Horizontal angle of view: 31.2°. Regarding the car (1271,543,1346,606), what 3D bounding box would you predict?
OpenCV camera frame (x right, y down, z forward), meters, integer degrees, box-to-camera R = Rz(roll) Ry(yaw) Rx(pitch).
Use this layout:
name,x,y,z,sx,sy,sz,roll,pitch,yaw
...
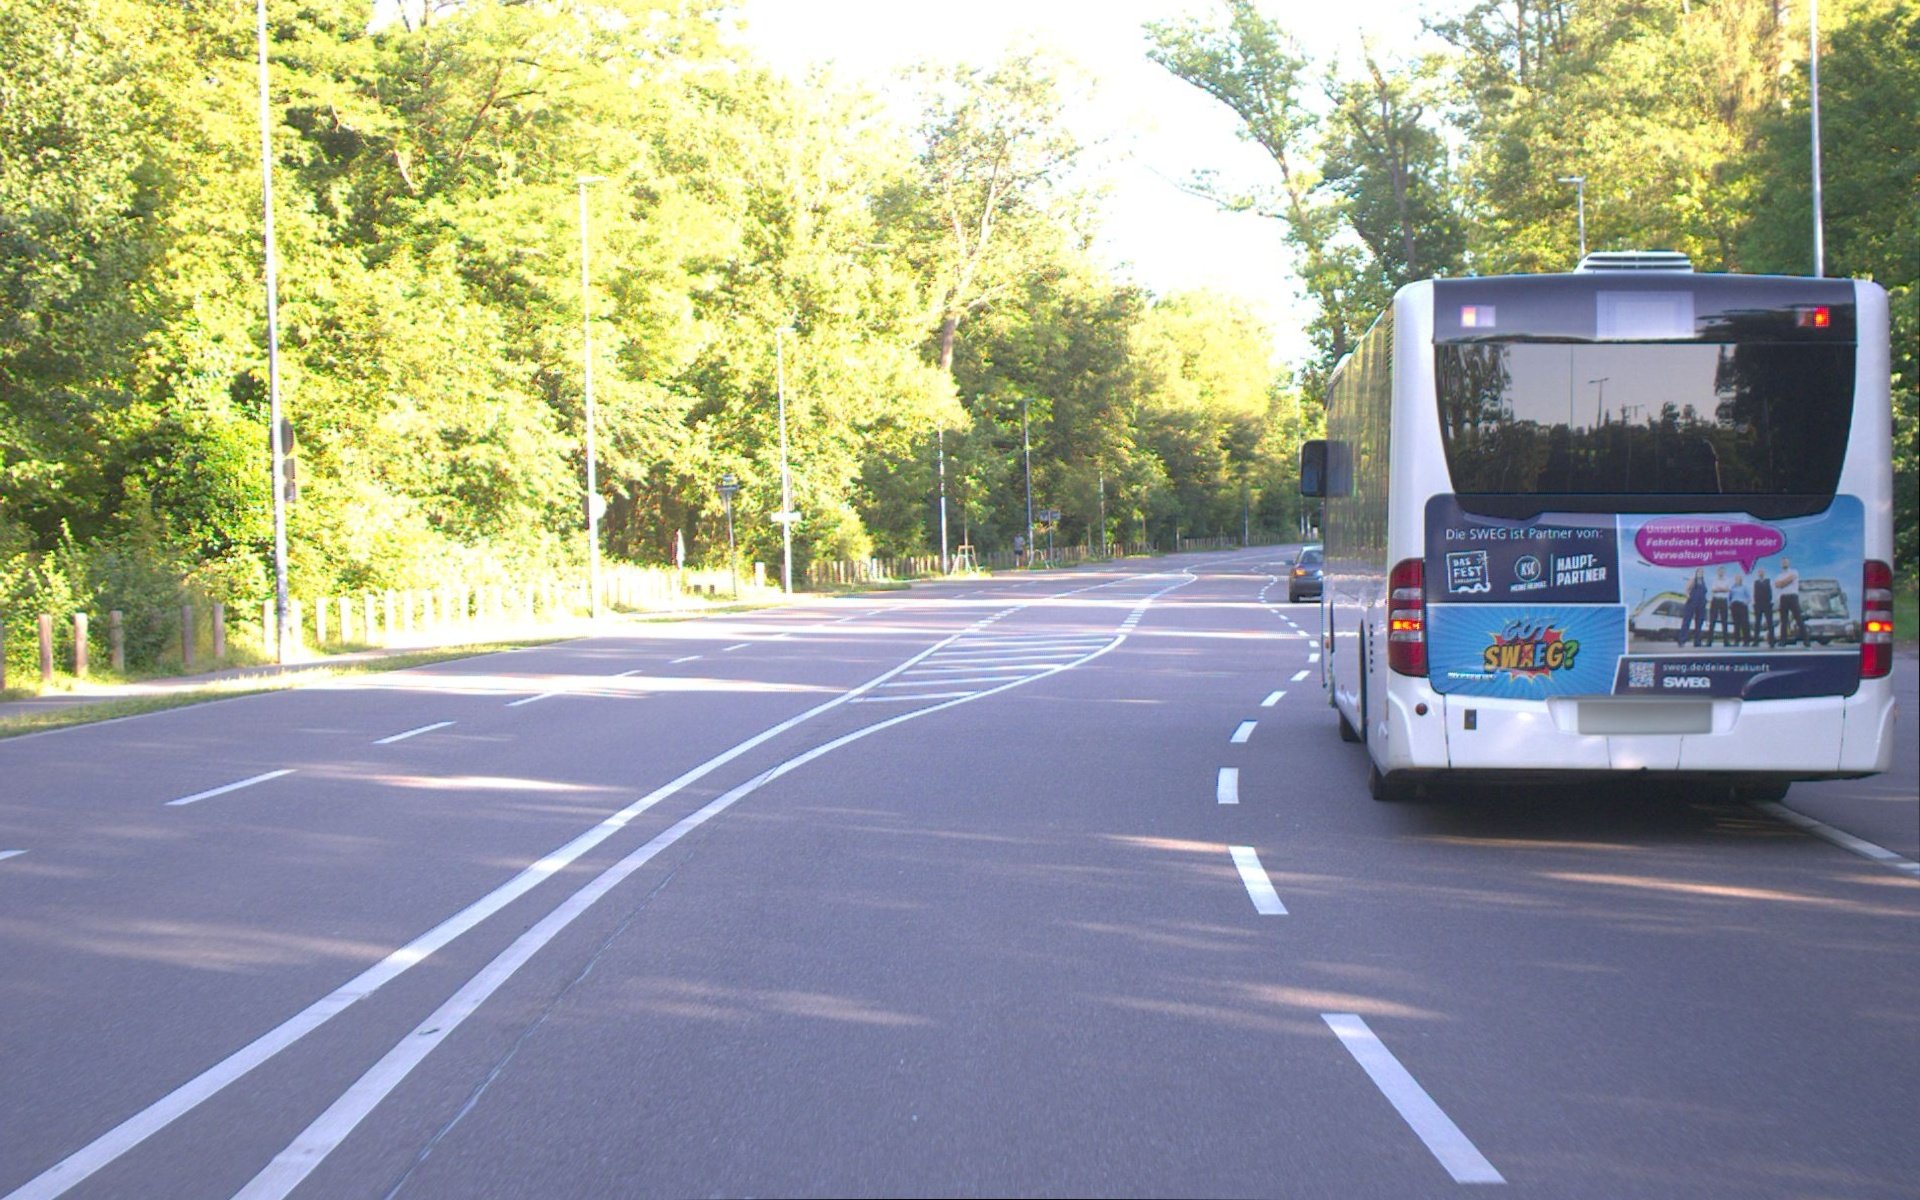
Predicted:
name,x,y,z,sx,sy,sz,roll,pitch,yaw
car,8.765,-0.636,86.295,1.632,1.542,4.130,0,0,9

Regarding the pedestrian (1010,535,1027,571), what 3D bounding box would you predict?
name,x,y,z,sx,sy,sz,roll,pitch,yaw
pedestrian,2.951,-2.369,172.602,0.779,1.806,0.770,0,1,5

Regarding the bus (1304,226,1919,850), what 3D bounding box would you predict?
name,x,y,z,sx,sy,sz,roll,pitch,yaw
bus,3.807,-0.355,22.814,2.690,3.032,12.039,0,0,4
